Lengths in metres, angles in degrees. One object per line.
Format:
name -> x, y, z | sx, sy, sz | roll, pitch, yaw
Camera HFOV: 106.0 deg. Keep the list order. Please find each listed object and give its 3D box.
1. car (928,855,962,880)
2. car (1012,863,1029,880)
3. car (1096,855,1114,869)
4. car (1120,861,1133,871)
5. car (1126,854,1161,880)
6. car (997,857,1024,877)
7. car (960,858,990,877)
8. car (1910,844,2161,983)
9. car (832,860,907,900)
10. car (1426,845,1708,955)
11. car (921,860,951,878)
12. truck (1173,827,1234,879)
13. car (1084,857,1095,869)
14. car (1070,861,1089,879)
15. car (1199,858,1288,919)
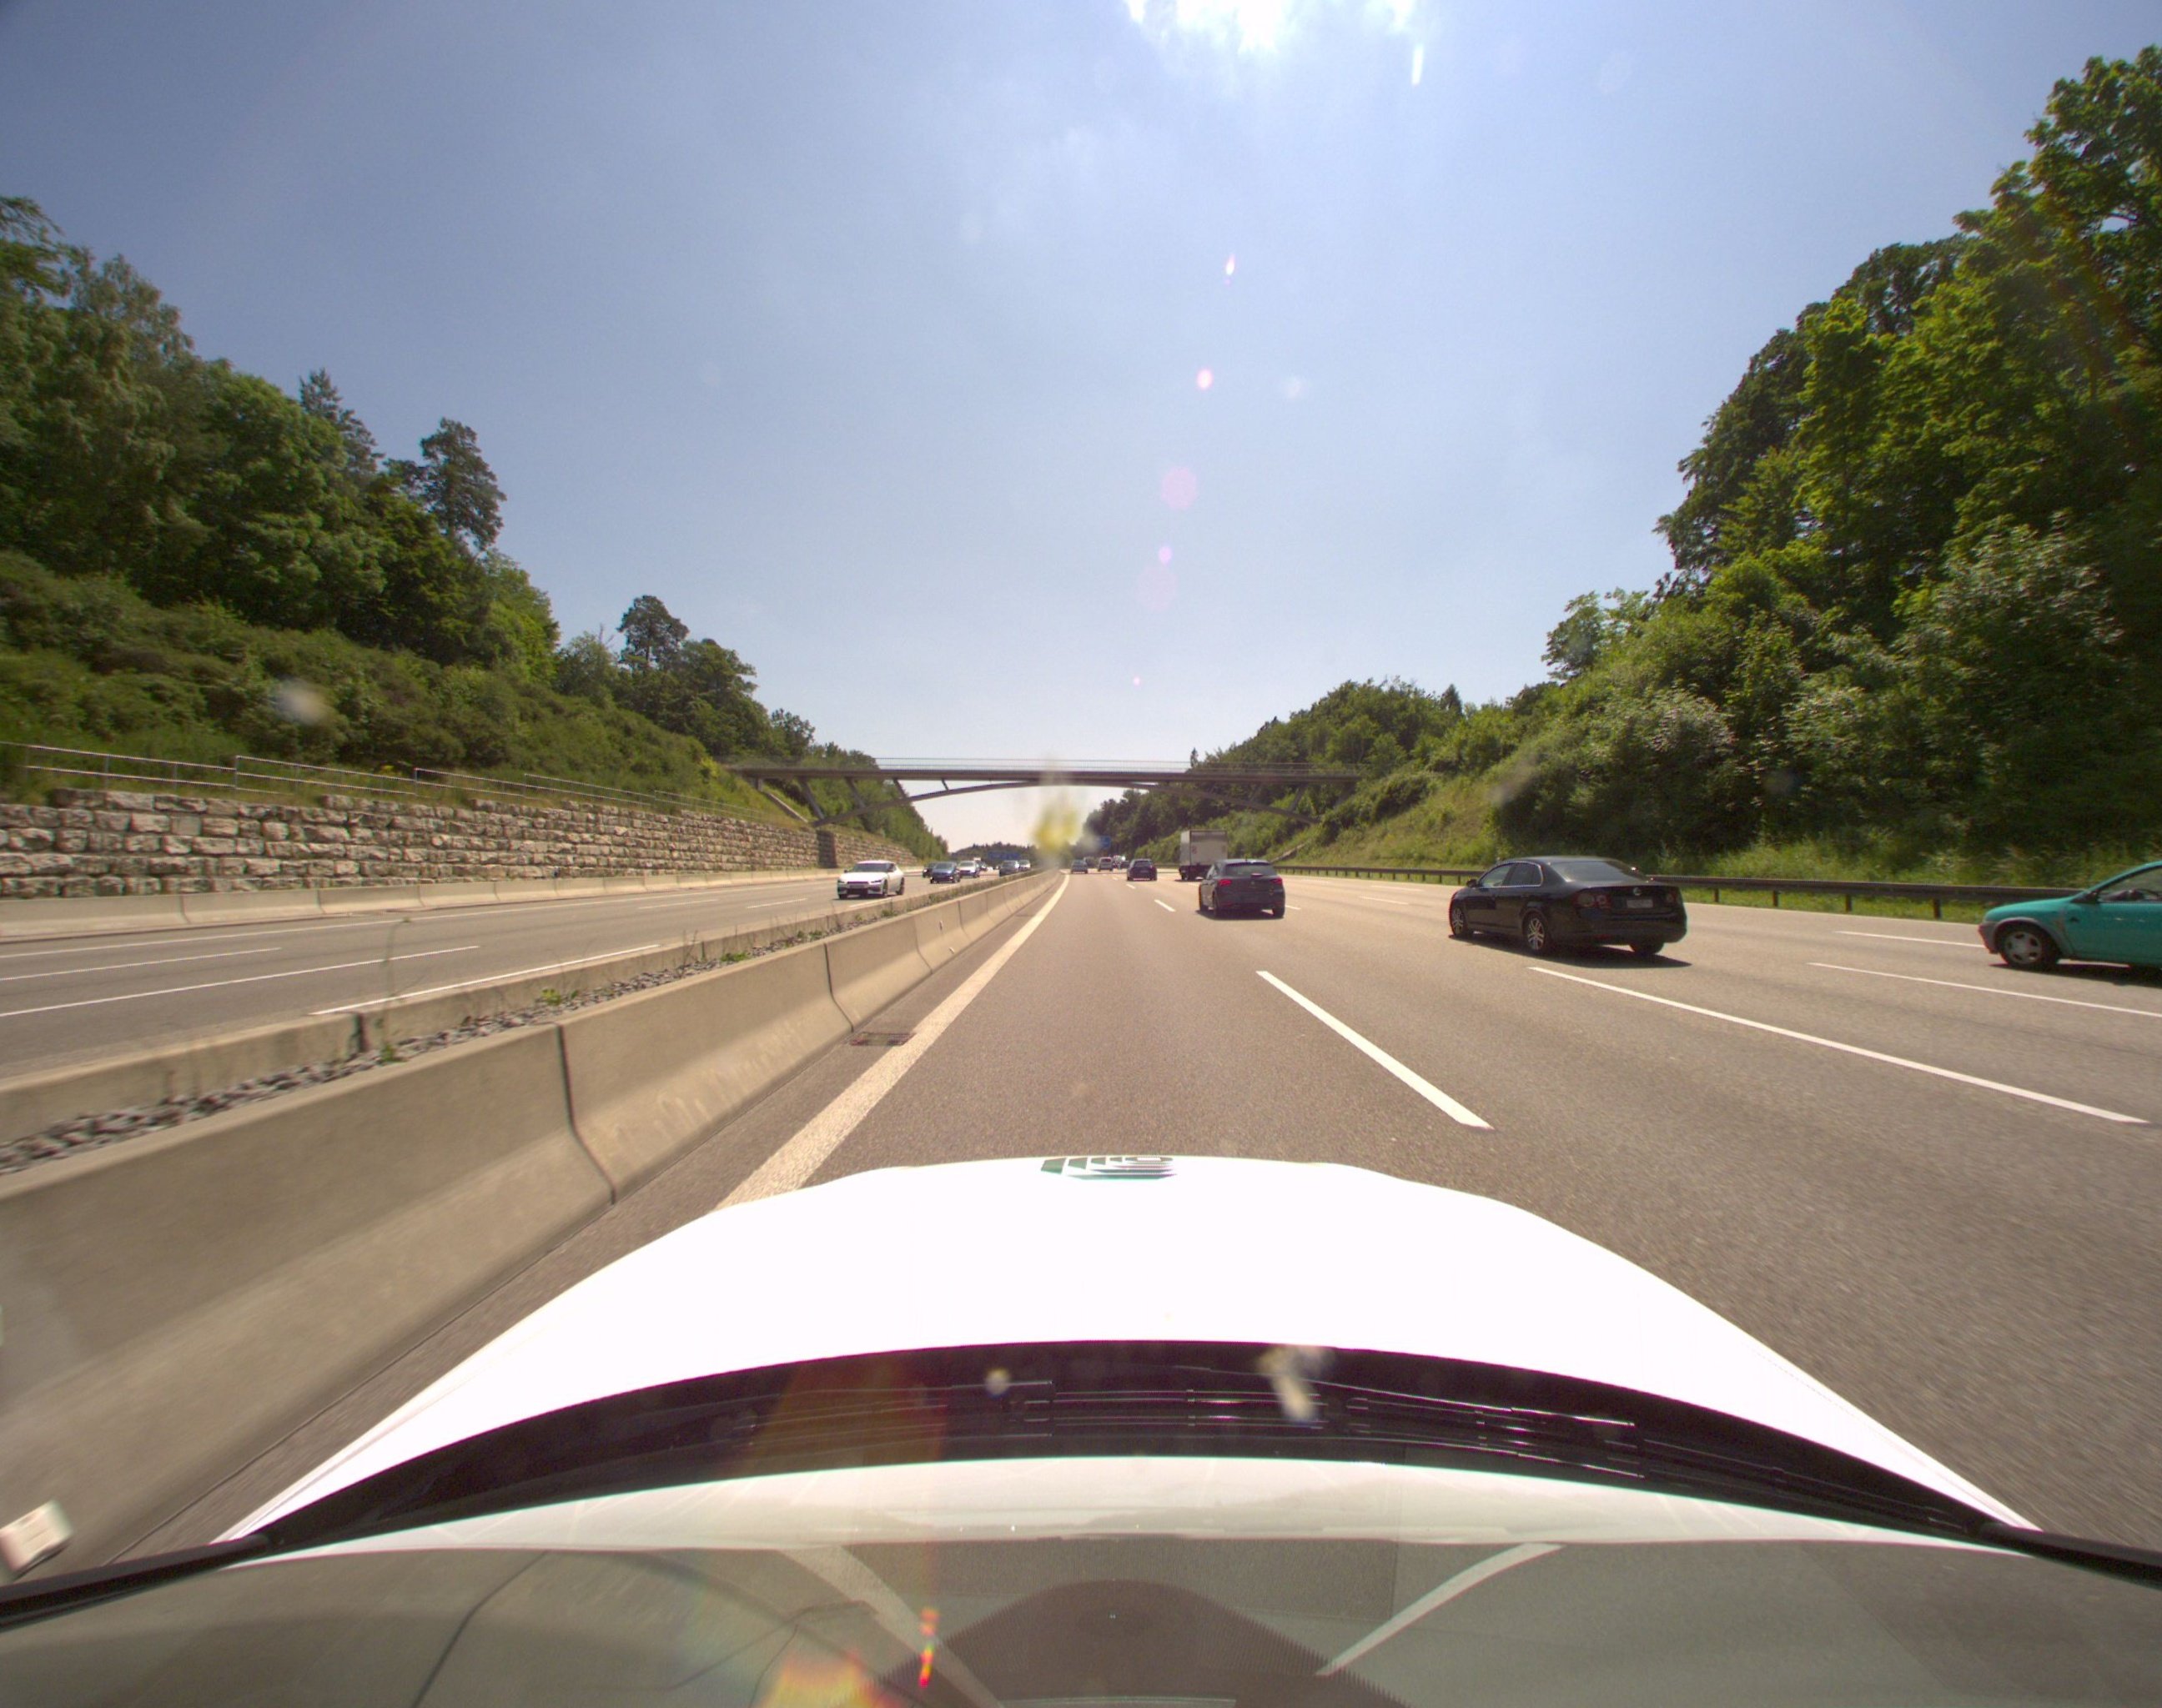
car -> -9.211, 0.918, 55.446 | 1.648, 1.550, 4.000 | 1, 1, 0
car -> -7.660, 2.210, 102.860 | 1.989, 2.014, 3.996 | 1, -2, -2
car -> 3.116, 1.076, 106.768 | 2.097, 1.744, 4.686 | -1, 0, -1
car -> 7.171, 1.882, 128.742 | 1.987, 1.593, 4.000 | 1, -1, 0
car -> 4.166, 0.837, 55.046 | 1.987, 1.634, 4.758 | -1, 0, -1
car -> -6.166, 1.127, 71.710 | 1.986, 1.618, 4.001 | -1, 0, 1
car -> -9.232, 1.149, 71.203 | 1.986, 1.618, 4.001 | -1, 0, 1
car -> 12.044, 0.612, 8.916 | 1.539, 1.444, 4.341 | -1, 0, 0
car -> -8.836, 1.044, 34.441 | 1.894, 1.496, 4.805 | -1, 0, 0
car -> 7.330, 0.594, 12.991 | 1.659, 1.408, 4.904 | -1, 0, 1
car -> -13.324, 1.364, 75.053 | 1.986, 1.618, 4.001 | -1, 0, 1
truck -> 7.969, -0.068, 53.910 | 2.975, 3.167, 7.574 | -1, 0, 0
car -> 1.804, 1.983, 178.421 | 2.258, 2.371, 4.701 | -1, -1, 0
car -> -0.148, 1.784, 89.484 | 2.006, 1.846, 3.998 | 0, -3, 0
car -> 4.120, 0.819, 21.173 | 1.701, 1.433, 4.003 | 0, 0, 3
